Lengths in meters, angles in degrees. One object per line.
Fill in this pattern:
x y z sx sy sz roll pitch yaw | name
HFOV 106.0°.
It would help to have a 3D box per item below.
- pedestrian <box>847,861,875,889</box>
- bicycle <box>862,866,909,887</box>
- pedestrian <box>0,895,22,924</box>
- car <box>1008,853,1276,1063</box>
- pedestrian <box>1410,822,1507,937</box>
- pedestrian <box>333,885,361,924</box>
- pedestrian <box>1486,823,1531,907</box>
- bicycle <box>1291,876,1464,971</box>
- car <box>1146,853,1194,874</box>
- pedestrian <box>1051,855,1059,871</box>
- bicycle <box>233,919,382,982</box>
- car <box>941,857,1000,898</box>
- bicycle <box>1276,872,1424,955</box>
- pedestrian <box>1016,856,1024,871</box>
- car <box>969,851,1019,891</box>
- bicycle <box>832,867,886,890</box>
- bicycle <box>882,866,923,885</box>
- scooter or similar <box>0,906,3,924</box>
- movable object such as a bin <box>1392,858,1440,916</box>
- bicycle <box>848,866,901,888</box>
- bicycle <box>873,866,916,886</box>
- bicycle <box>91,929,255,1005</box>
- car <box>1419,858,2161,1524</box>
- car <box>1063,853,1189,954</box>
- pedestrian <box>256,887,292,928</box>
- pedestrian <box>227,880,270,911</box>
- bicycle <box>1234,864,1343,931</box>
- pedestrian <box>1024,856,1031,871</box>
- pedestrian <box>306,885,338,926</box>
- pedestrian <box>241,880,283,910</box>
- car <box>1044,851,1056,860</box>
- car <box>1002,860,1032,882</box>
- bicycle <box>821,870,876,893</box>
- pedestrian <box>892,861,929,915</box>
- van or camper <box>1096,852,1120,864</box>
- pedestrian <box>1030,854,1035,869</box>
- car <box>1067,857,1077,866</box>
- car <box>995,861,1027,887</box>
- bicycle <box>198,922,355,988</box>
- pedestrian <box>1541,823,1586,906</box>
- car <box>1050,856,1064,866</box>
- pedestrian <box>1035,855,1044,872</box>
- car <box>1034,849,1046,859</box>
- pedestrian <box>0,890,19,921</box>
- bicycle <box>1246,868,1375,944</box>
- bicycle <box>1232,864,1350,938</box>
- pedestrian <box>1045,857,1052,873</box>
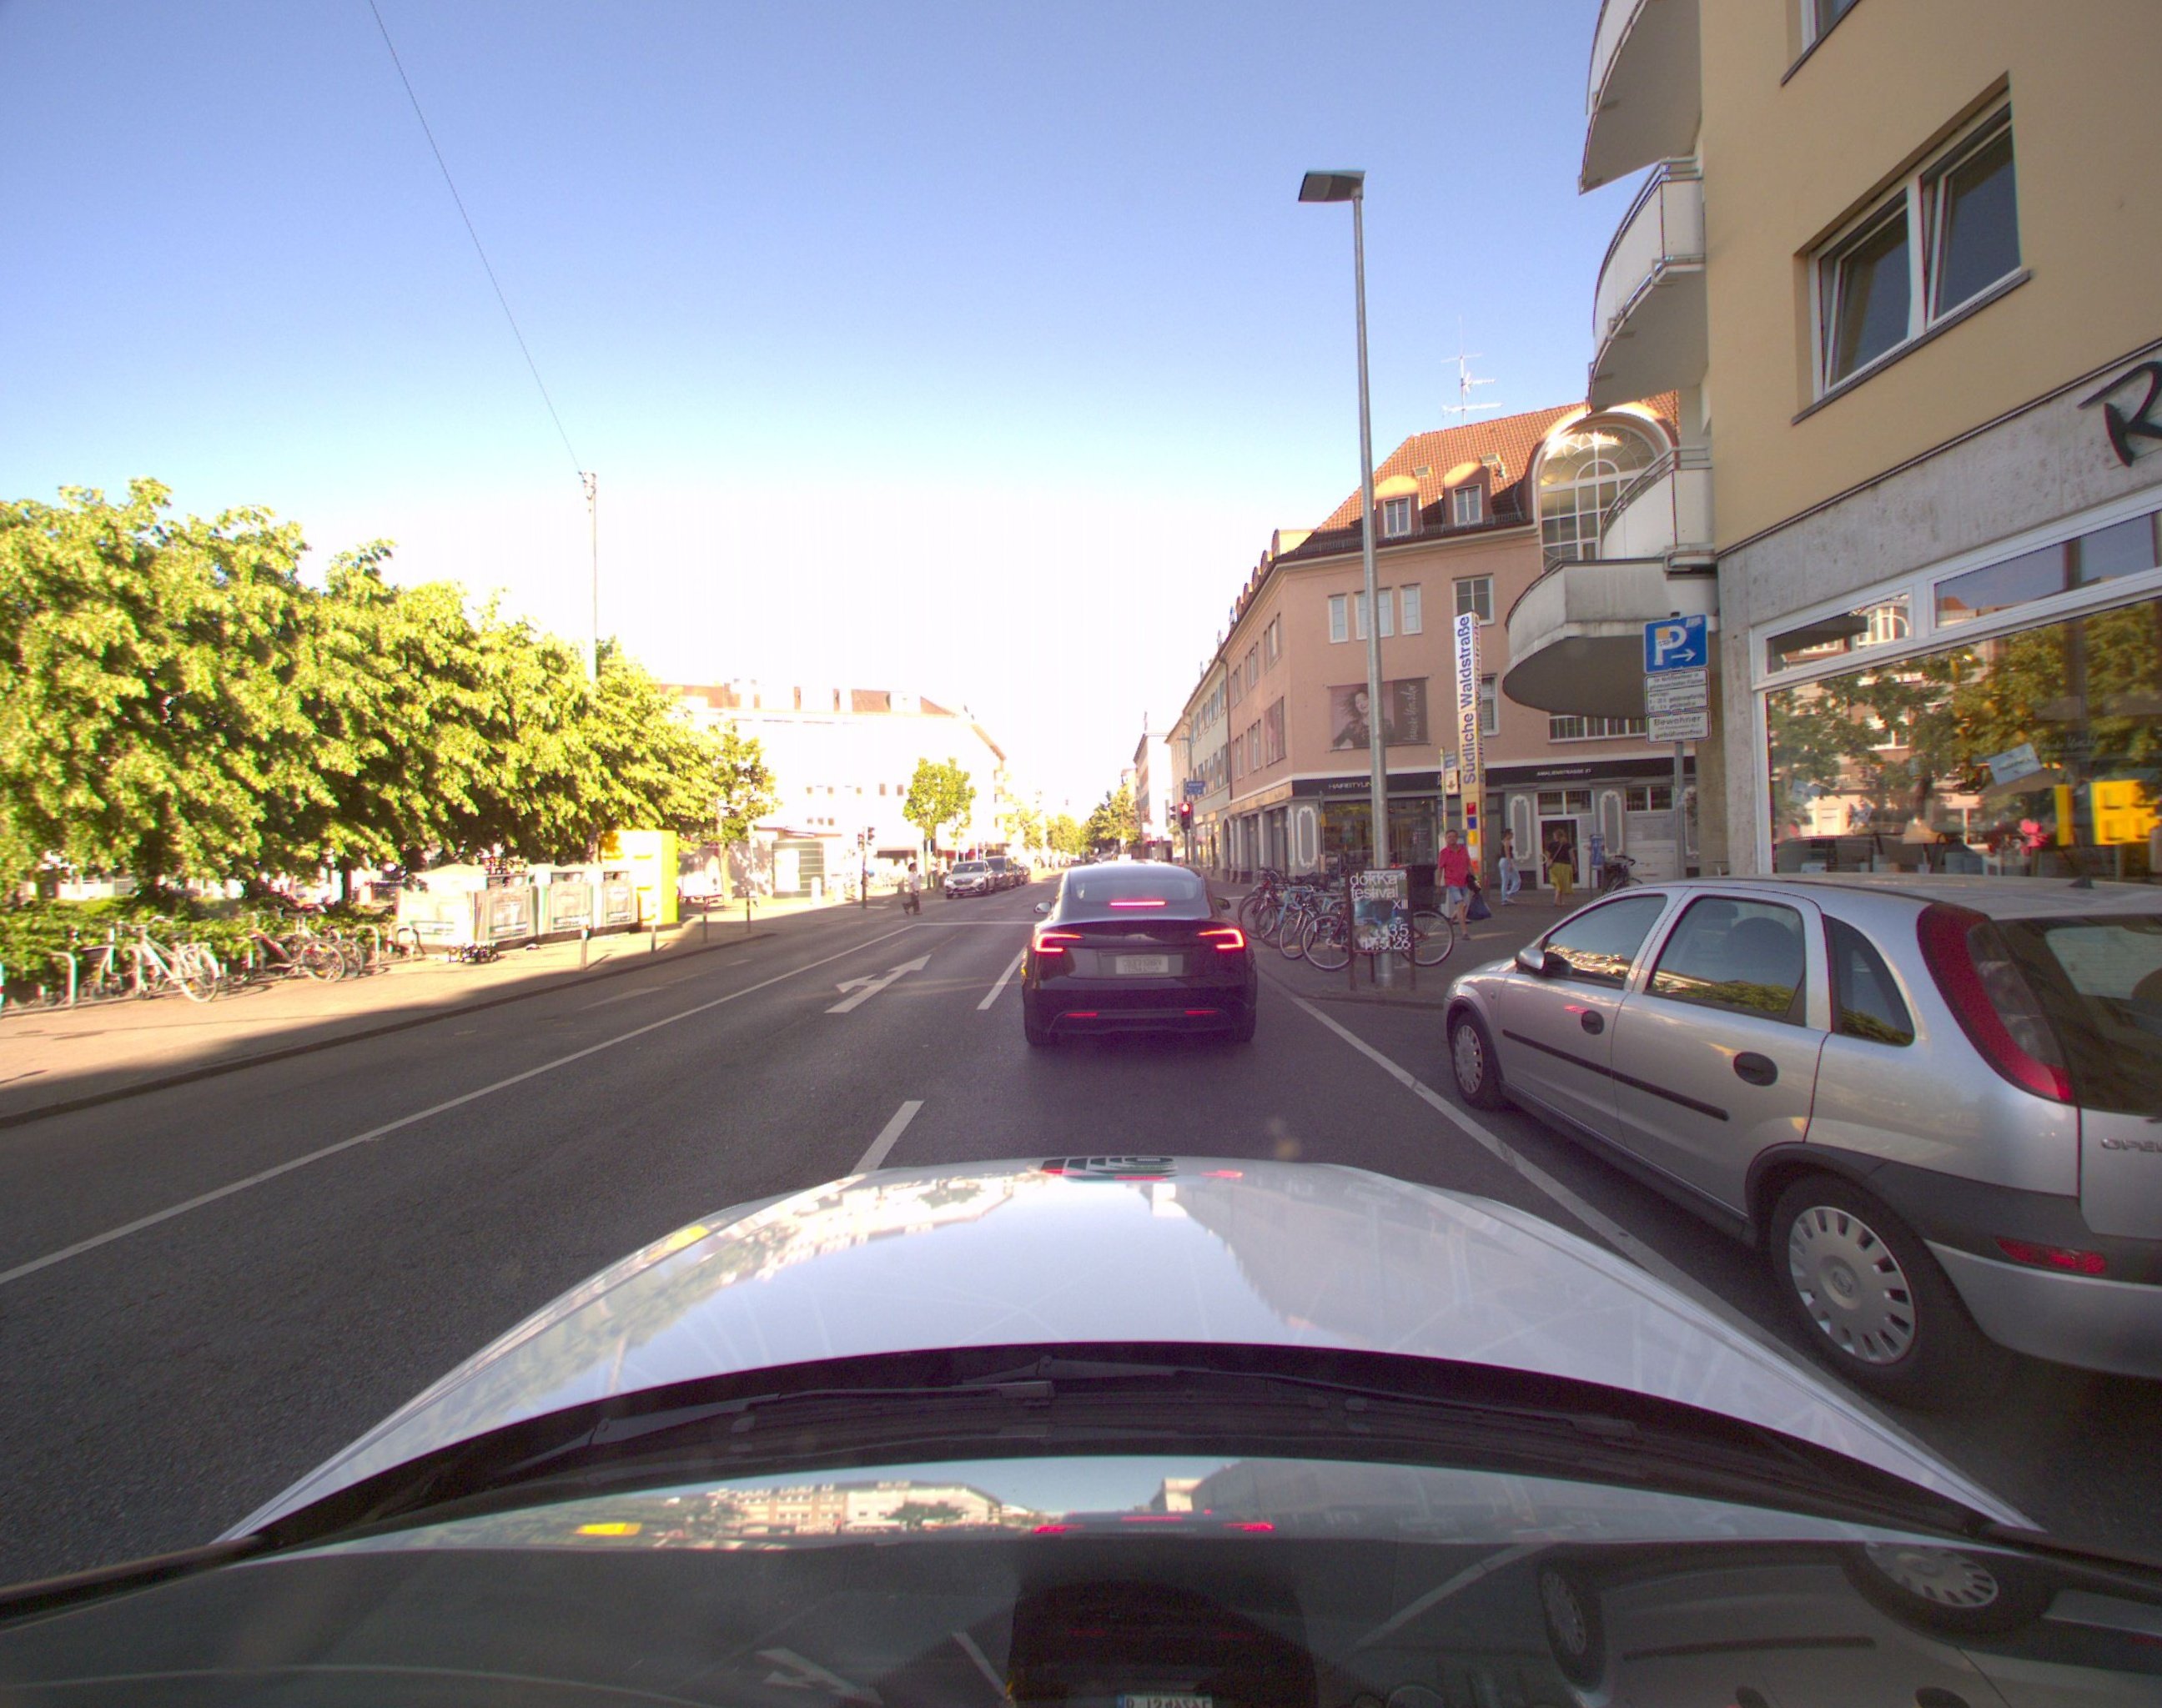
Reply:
-12.705 1.203 47.055 1.255 1.611 1.098 0 -1 7 | pedestrian
-12.059 1.388 50.296 2.655 1.259 0.942 0 -1 -1 | bicycle
-57.761 2.983 43.917 0.629 1.524 0.573 0 -1 -34 | pedestrian
0.493 0.737 7.878 1.843 1.447 4.453 0 0 2 | car
5.858 0.388 12.725 1.053 1.719 1.115 0 -1 5 | pedestrian
-29.222 2.011 32.435 0.553 1.508 0.611 -1 -1 17 | pedestrian
9.831 0.249 18.705 0.674 1.849 0.899 -6 -2 34 | pedestrian
3.633 0.844 10.078 1.875 1.044 0.653 -2 0 3 | bicycle
8.141 0.873 74.645 4.006 1.867 1.686 -1 0 -20 | car
-3.064 1.095 95.944 0.774 1.868 1.005 0 -1 -11 | pedestrian
-11.464 1.424 12.097 1.663 0.859 0.469 0 -1 -5 | bicycle
-4.888 1.016 36.593 1.818 1.565 4.302 -5 -1 2 | car
3.653 0.796 11.151 1.806 1.060 0.653 -1 0 3 | bicycle
-7.294 1.137 97.334 0.734 1.868 0.787 0 -1 -15 | pedestrian
-4.500 0.835 42.915 1.938 1.947 4.822 -1 0 2 | car
-12.398 1.371 45.582 2.772 1.274 0.933 0 -1 -2 | bicycle
-12.058 1.421 54.999 2.535 1.251 0.942 0 -1 -1 | bicycle
-58.365 3.263 43.527 0.793 0.957 0.459 0 -1 -34 | scooter or similar
6.741 0.658 16.417 0.633 1.103 0.728 -4 -1 5 | movable object such as a bin
-12.159 1.364 47.978 2.867 1.270 0.942 0 -1 -1 | bicycle
-12.004 1.401 52.571 2.535 1.251 0.942 0 -1 -1 | bicycle
-11.465 1.417 10.300 1.560 0.886 0.470 0 -1 1 | bicycle
2.958 0.737 3.541 1.578 1.426 3.581 0 -1 2 | car
0.739 0.748 14.301 1.843 1.482 4.453 0 0 2 | car
-31.050 2.049 31.352 0.928 1.520 0.924 0 -1 -43 | pedestrian
-33.694 1.665 32.954 0.926 1.214 0.873 -1 -1 17 | pedestrian
3.734 0.782 14.766 1.806 1.152 0.653 -1 0 3 | bicycle
-6.384 1.131 97.370 0.734 1.868 0.787 0 -1 -15 | pedestrian
-29.724 2.009 31.880 0.827 1.520 0.782 -1 -1 38 | pedestrian
-33.951 1.685 33.777 0.857 1.214 0.904 -1 -1 17 | pedestrian
-7.171 0.294 188.728 2.266 2.014 4.720 0 -1 3 | car
-4.432 1.155 57.002 1.688 1.390 3.915 -3 -1 0 | car
-12.329 1.439 43.239 2.652 1.195 0.942 0 -1 -1 | bicycle
-5.051 0.988 24.185 0.919 1.543 0.694 -2 -1 -4 | pedestrian
5.627 0.855 167.655 4.832 2.438 1.851 -1 0 1 | van or camper
-6.221 0.979 104.219 0.693 1.868 0.658 0 -1 -3 | pedestrian
-2.005 1.781 187.424 2.124 1.970 4.135 -1 0 2 | car
-4.261 1.205 50.041 1.455 1.430 3.607 -5 -1 2 | car
-11.430 1.423 11.598 1.667 0.859 0.469 0 -1 -5 | bicycle
10.533 0.225 17.780 0.714 1.754 0.792 -4 -1 31 | pedestrian
-4.865 1.326 166.803 2.405 1.970 4.679 -1 0 2 | car
-4.854 1.099 94.856 0.726 1.868 0.796 -1 -1 30 | pedestrian
-9.026 -0.009 180.132 2.266 2.014 4.720 0 -1 3 | car
-66.903 3.193 50.274 1.305 1.842 1.091 0 -1 -31 | pedestrian
3.515 0.790 12.562 1.806 1.102 0.653 -1 0 3 | bicycle
3.493 0.774 13.637 1.806 1.152 0.653 -1 0 3 | bicycle
-3.841 1.280 96.037 0.695 1.868 0.906 0 -1 -12 | pedestrian
